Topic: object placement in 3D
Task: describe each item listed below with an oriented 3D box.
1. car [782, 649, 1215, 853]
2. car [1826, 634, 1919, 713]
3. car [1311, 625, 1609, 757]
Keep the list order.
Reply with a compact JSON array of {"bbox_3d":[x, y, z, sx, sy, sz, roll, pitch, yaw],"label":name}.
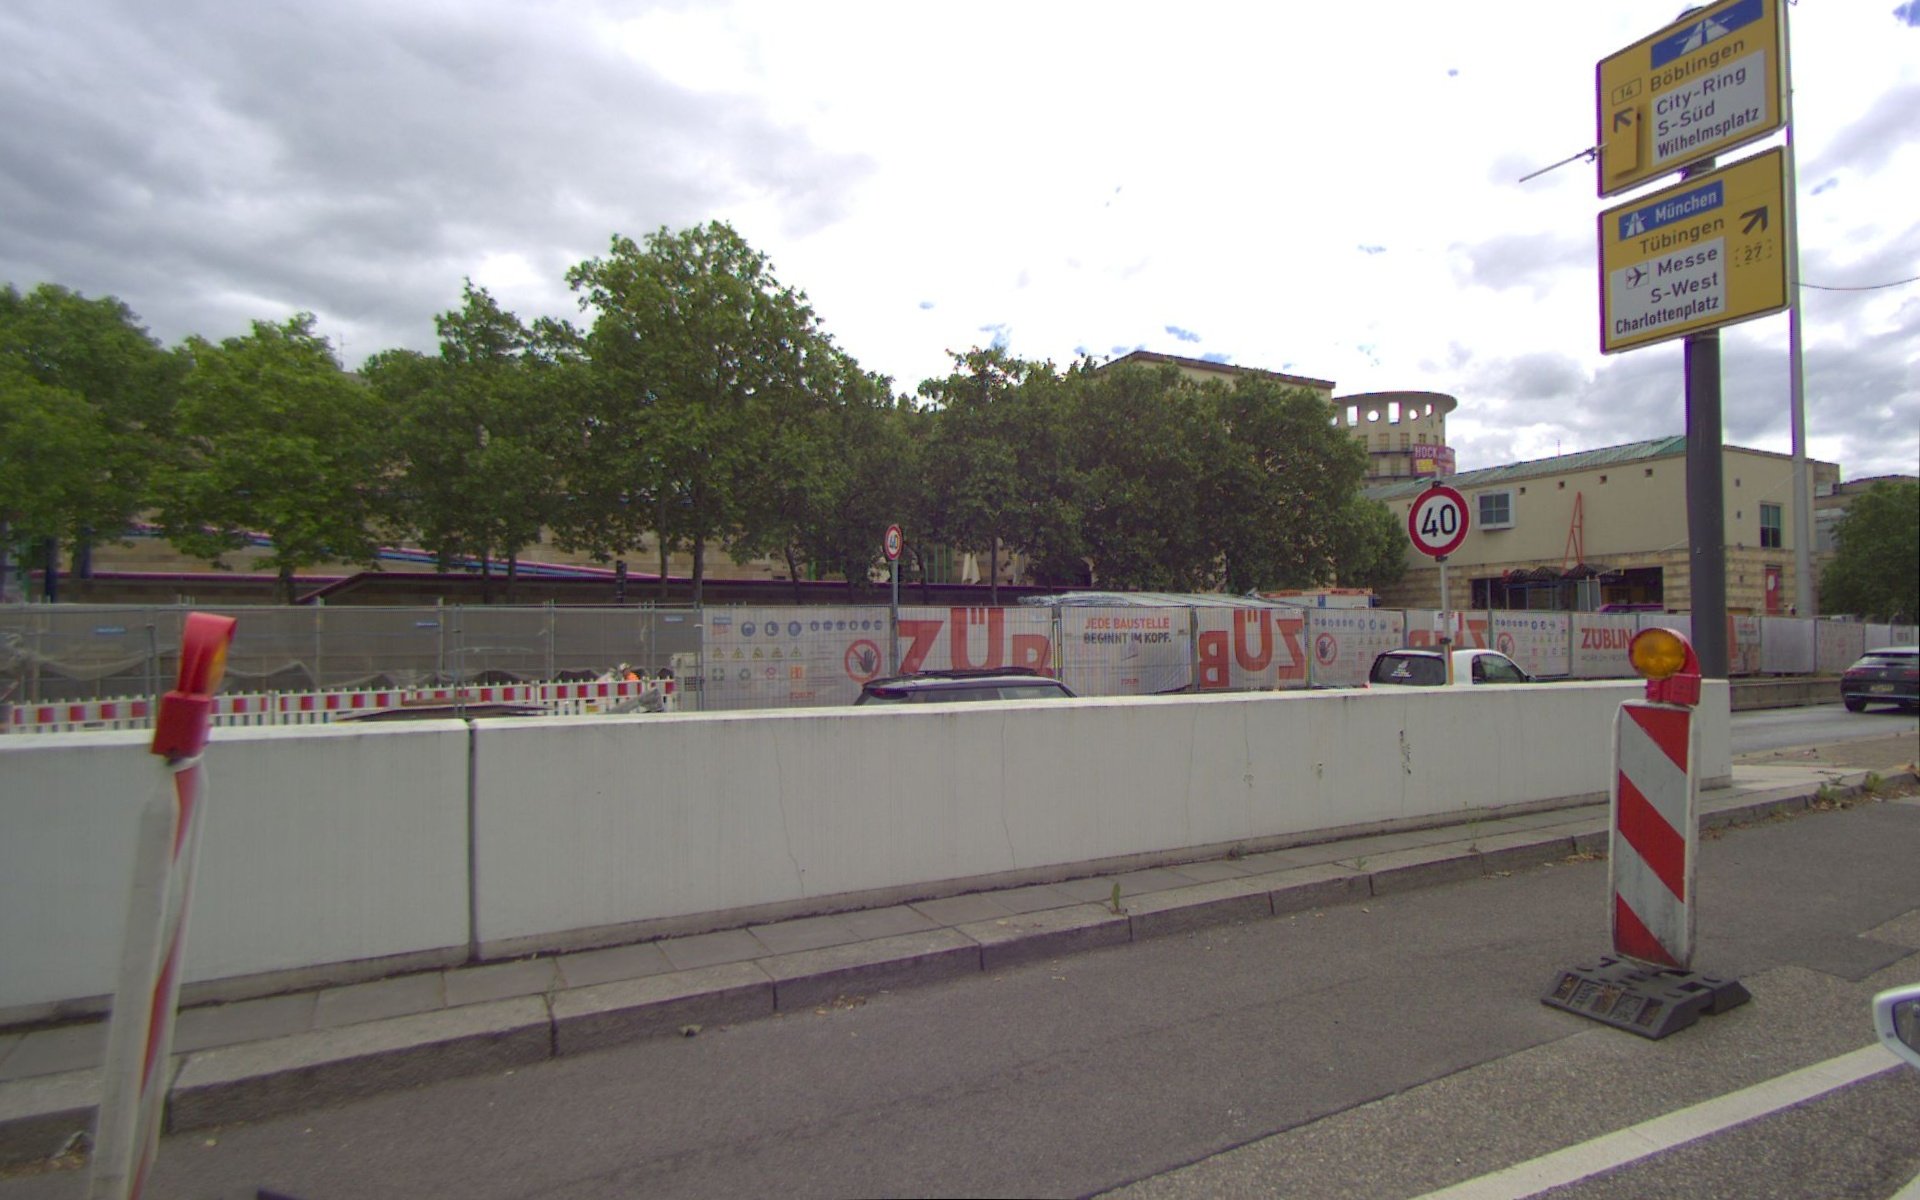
[{"bbox_3d":[0.413,1.335,10.152,3.952,1.663,1.985,1,-3,-30],"label":"car"},{"bbox_3d":[20.779,1.550,21.734,4.279,1.588,1.743,2,-3,-30],"label":"car"},{"bbox_3d":[7.214,1.221,14.458,3.952,1.663,1.985,1,-3,-30],"label":"car"}]
